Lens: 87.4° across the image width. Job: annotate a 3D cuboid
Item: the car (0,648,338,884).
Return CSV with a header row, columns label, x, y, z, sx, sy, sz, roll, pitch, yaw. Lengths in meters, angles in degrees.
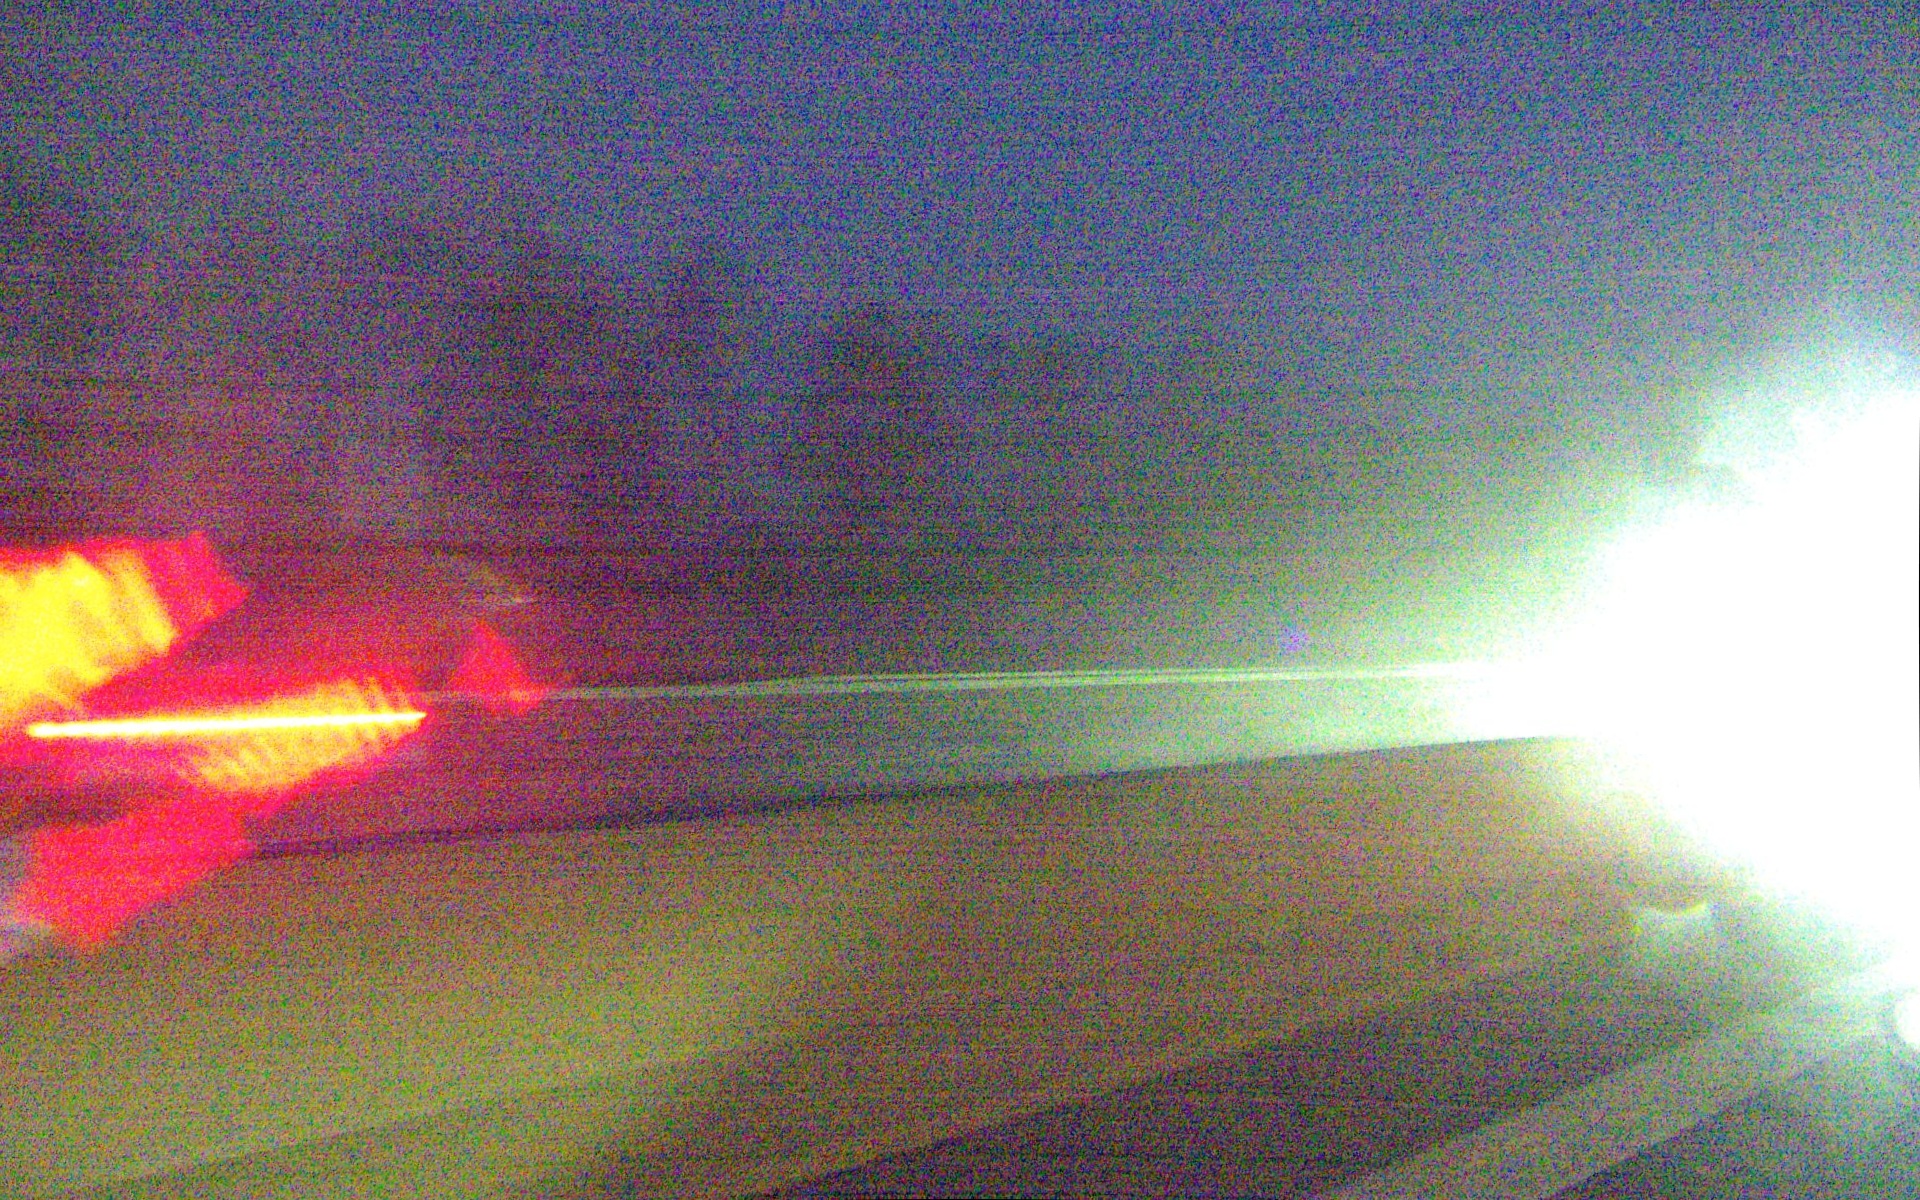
label,x,y,z,sx,sy,sz,roll,pitch,yaw
car,-8.589,1.464,9.180,4.904,1.784,1.982,0,1,-32
